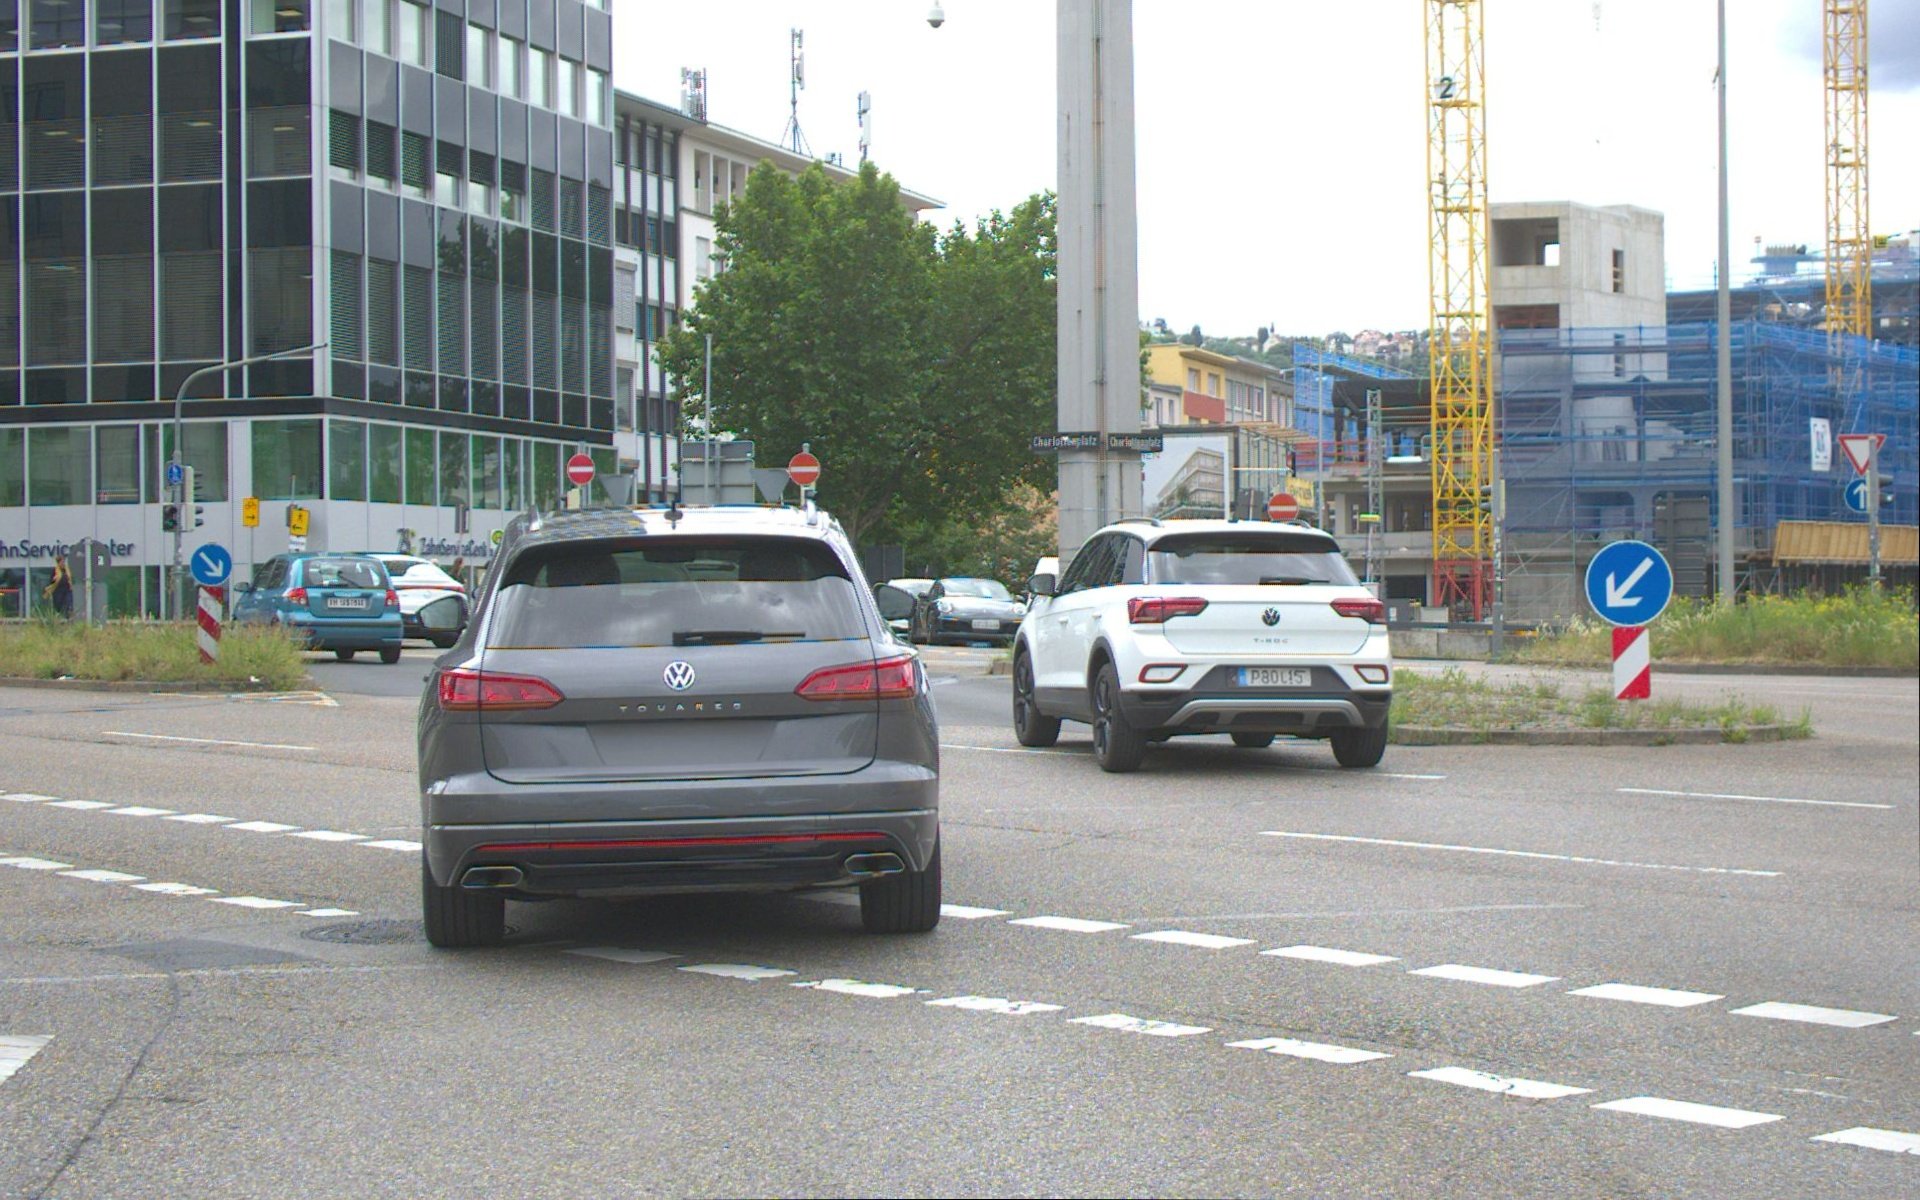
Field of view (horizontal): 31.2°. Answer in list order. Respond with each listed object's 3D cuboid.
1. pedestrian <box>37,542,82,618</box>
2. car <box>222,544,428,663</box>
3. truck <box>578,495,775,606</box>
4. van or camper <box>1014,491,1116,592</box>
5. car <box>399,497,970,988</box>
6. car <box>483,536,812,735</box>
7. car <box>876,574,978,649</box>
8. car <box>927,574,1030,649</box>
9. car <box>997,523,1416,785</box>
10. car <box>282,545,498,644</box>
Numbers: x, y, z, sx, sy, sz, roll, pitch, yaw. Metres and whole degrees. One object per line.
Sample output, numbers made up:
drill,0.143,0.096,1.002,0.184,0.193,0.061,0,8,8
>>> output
pedestrian,-20.278,-0.445,77.419,0.800,1.692,0.547,0,2,18
car,-8.557,0.012,46.134,1.831,1.512,3.768,0,1,-25
truck,-8.365,-1.418,102.471,2.340,3.053,8.189,0,-1,22
van or camper,2.723,-1.511,87.556,2.140,2.469,6.160,0,1,6
car,-1.209,0.451,14.038,1.970,1.690,4.225,0,1,-7
car,-2.382,0.266,27.271,1.834,1.391,4.146,2,0,5
car,-0.728,0.257,72.213,1.993,1.499,5.040,1,-1,-2
car,0.316,0.188,62.718,1.670,1.260,4.058,0,1,-3
car,1.488,0.280,22.310,1.797,1.540,3.937,0,1,-10
car,-9.080,-0.115,54.600,1.832,1.512,3.766,0,1,-38
